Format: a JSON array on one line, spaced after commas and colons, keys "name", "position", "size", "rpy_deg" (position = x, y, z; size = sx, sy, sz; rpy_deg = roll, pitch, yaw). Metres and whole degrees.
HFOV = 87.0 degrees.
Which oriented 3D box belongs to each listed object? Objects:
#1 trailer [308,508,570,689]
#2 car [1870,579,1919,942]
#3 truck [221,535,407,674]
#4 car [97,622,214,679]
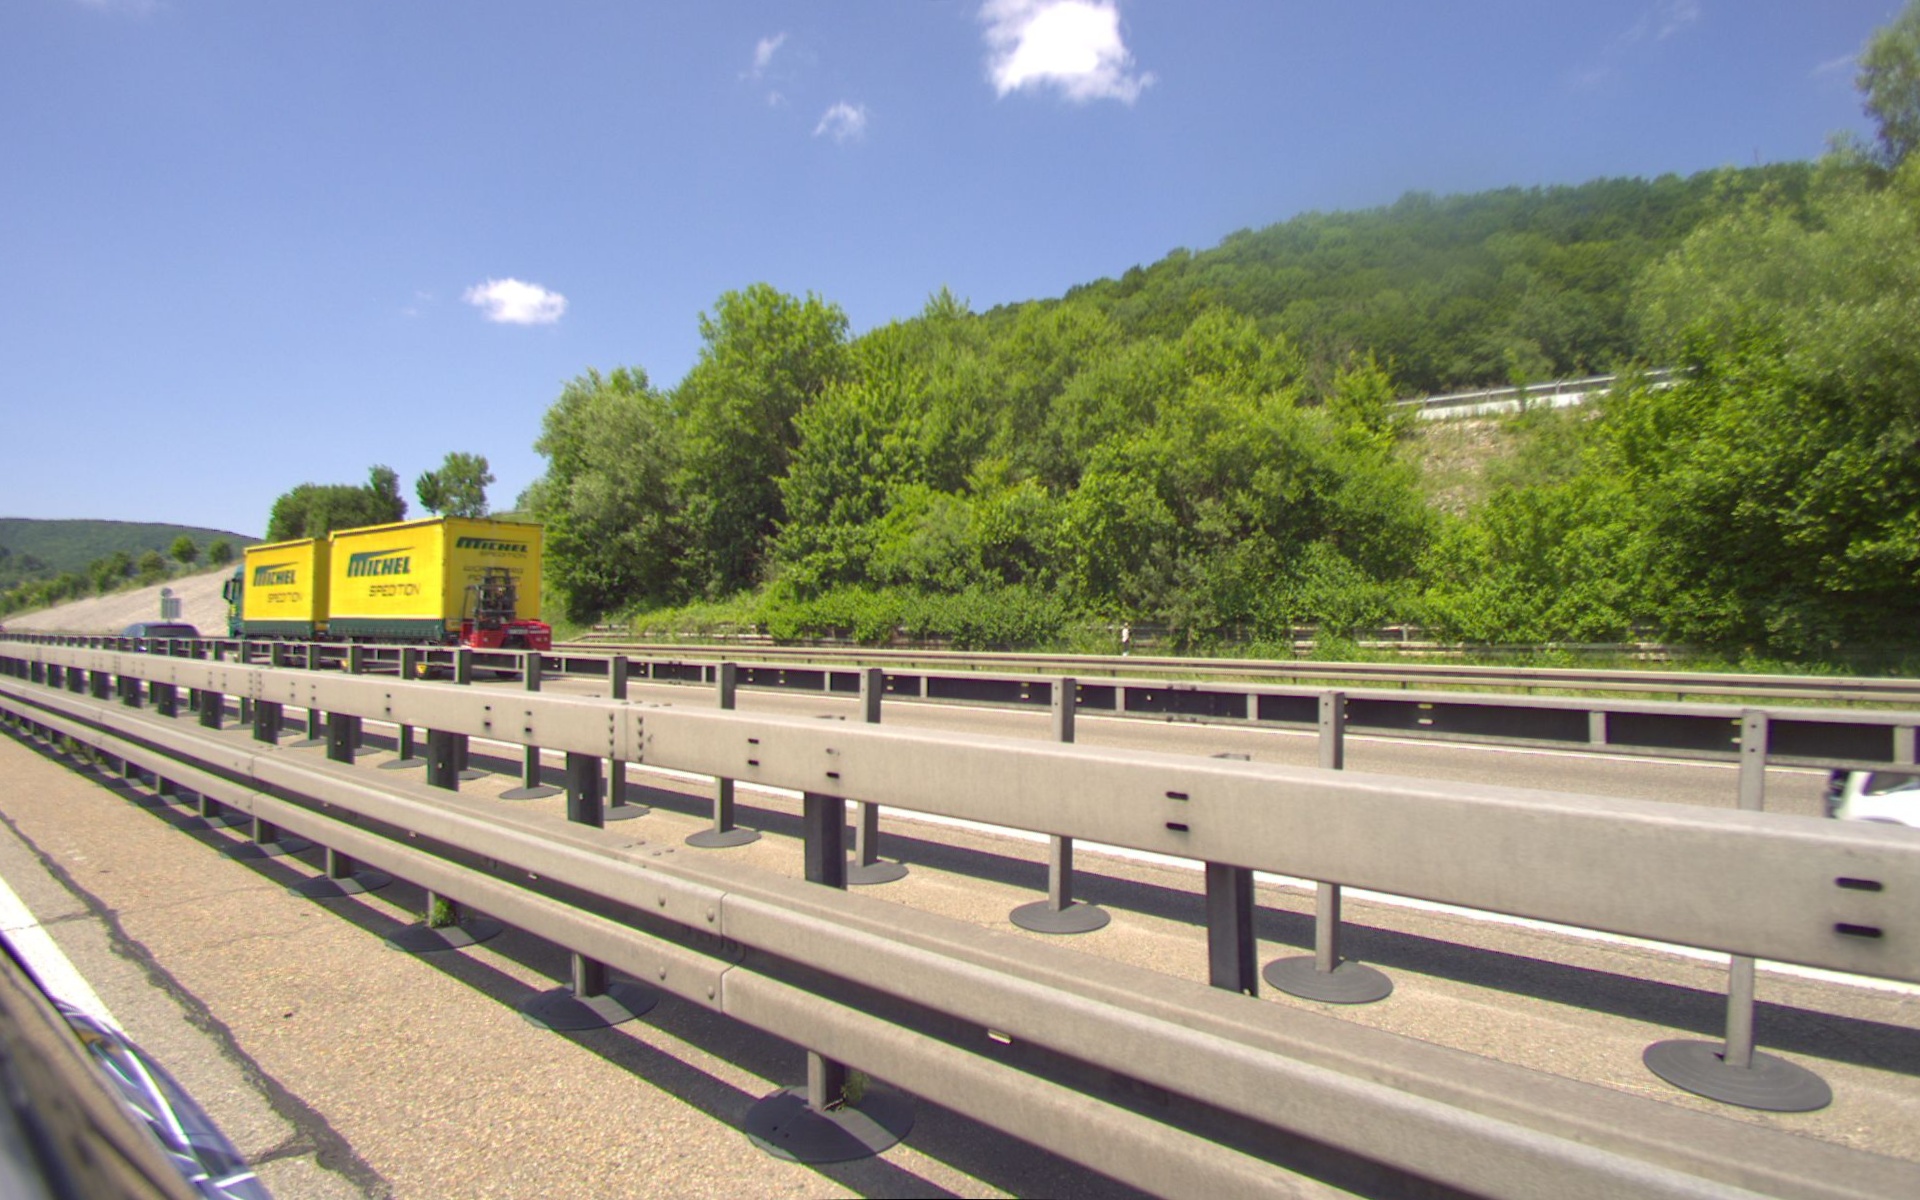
[{"name": "trailer", "position": [-14.699, 0.051, 27.945], "size": [10.399, 4.178, 2.797], "rpy_deg": [-1, -1, 41]}, {"name": "car", "position": [6.045, 0.641, 3.670], "size": [3.998, 1.530, 1.729], "rpy_deg": [-1, -1, 41]}, {"name": "truck", "position": [-22.300, 0.228, 34.612], "size": [9.610, 4.178, 2.797], "rpy_deg": [-1, -1, 41]}, {"name": "car", "position": [-24.464, 1.496, 30.715], "size": [4.747, 1.608, 1.827], "rpy_deg": [-2, -2, 39]}]
